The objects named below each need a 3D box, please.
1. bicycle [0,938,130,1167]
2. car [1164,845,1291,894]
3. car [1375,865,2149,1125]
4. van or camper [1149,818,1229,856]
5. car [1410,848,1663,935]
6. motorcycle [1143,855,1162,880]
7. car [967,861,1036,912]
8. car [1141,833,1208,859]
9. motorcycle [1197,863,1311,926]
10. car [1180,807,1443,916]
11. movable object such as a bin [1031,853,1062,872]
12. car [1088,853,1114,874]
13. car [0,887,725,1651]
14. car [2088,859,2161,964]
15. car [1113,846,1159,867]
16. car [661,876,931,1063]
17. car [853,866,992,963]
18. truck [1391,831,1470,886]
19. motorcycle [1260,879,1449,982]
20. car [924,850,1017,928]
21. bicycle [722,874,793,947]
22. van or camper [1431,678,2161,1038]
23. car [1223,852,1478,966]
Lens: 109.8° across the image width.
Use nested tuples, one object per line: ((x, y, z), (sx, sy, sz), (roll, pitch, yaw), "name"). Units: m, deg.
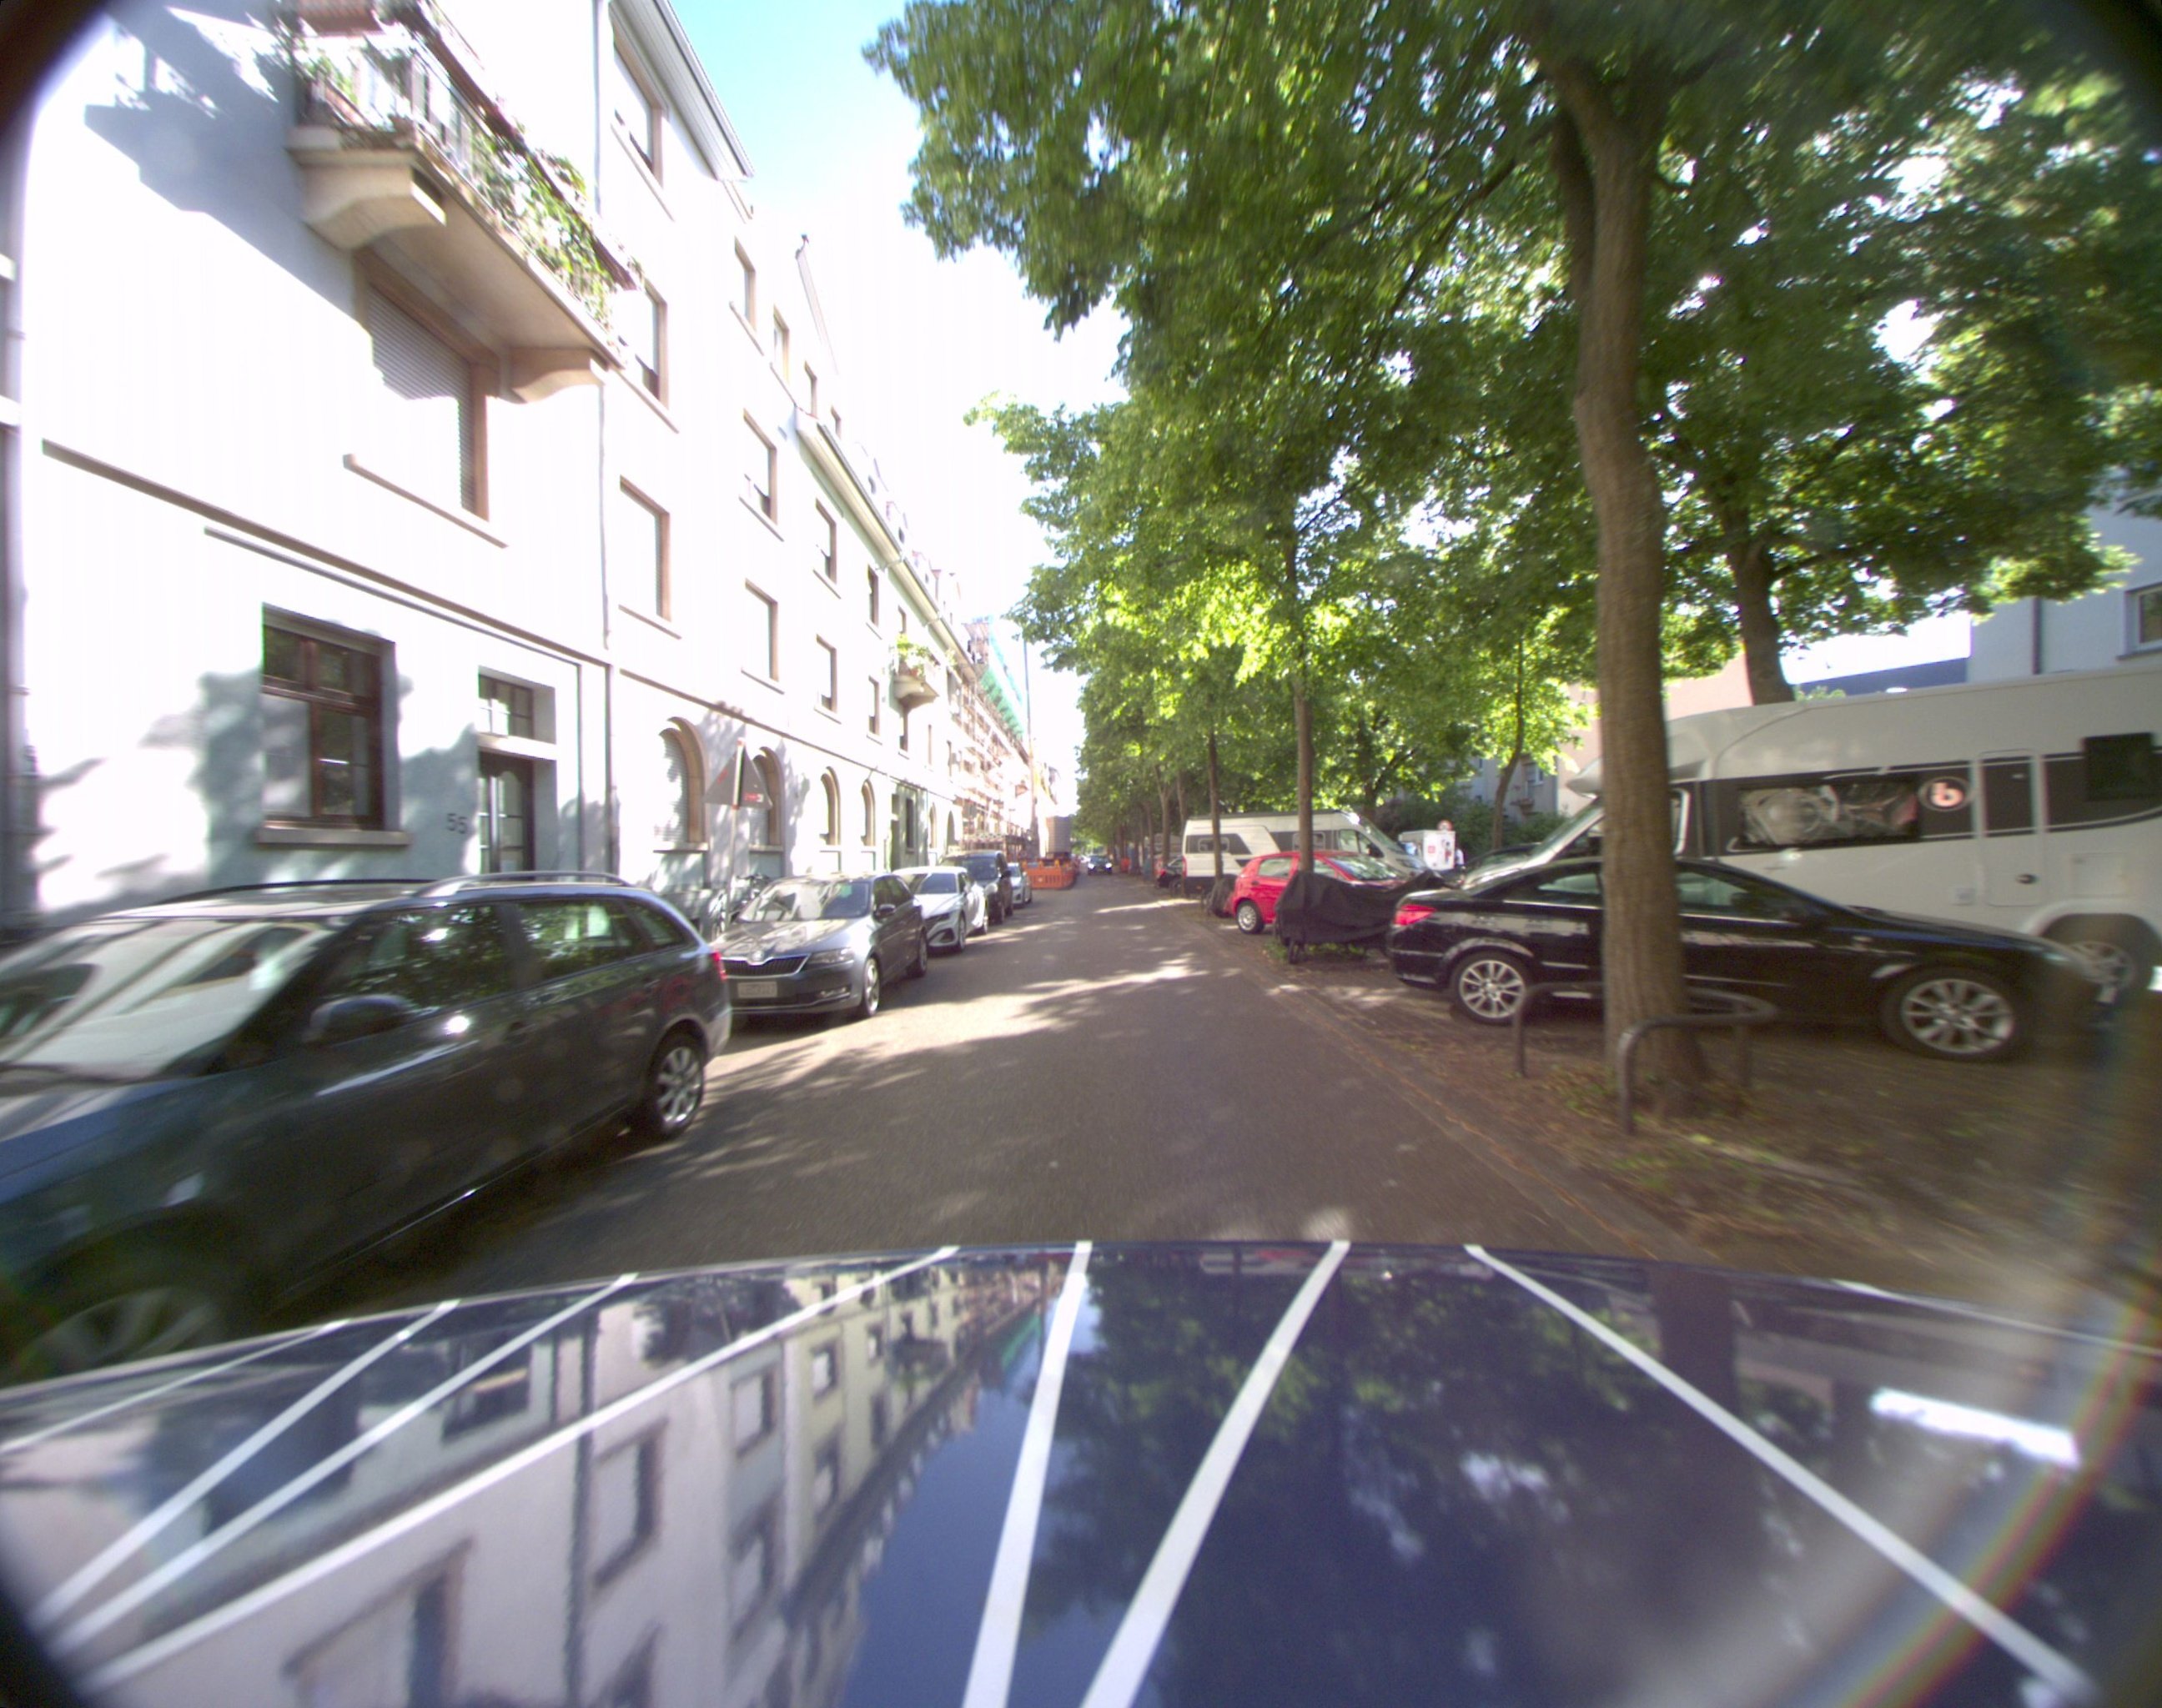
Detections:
((-6.078, 1.123, 3.840), (0.408, 1.179, 1.847), (-1, 0, -8), "bicycle")
((5.301, 0.576, 27.643), (4.090, 1.516, 1.705), (-5, -2, 31), "car")
((4.751, 0.829, 6.139), (4.146, 1.417, 1.718), (-1, 1, 33), "car")
((8.736, -1.307, 61.680), (6.017, 2.984, 2.404), (0, 0, 29), "van or camper")
((8.987, 0.651, 15.215), (4.126, 1.478, 1.837), (0, 2, 34), "car")
((4.074, 0.742, 43.382), (0.631, 1.317, 2.231), (-2, 1, 16), "motorcycle")
((-2.533, 1.007, 25.129), (1.709, 1.502, 4.284), (0, 0, 1), "car")
((9.157, -0.792, 74.437), (6.185, 2.497, 2.143), (0, 0, 28), "car")
((3.910, 0.898, 17.268), (2.326, 1.327, 0.968), (-1, 0, -8), "motorcycle")
((6.074, 0.208, 20.421), (6.310, 2.544, 2.342), (-1, 1, 33), "car")
((-2.820, 0.656, 61.755), (1.872, 1.518, 1.631), (0, 0, 35), "movable object such as a bin")
((1.550, 0.680, 56.948), (1.792, 1.510, 4.001), (0, 0, 3), "car")
((-3.154, 1.004, 2.836), (1.584, 1.541, 4.042), (-1, 0, 2), "car")
((15.671, 0.807, 9.098), (1.754, 1.427, 4.081), (1, 0, -1), "car")
((5.755, 0.208, 79.762), (4.386, 2.155, 1.774), (0, 0, 28), "car")
((-2.863, 1.062, 8.590), (1.603, 1.484, 3.966), (0, 0, -1), "car")
((-2.742, 0.977, 14.136), (1.611, 1.412, 4.568), (0, 0, 0), "car")
((16.334, 0.195, 35.753), (1.926, 2.395, 4.264), (0, 0, 3), "truck")
((3.453, 0.964, 9.804), (2.151, 1.222, 0.882), (-1, 1, 10), "motorcycle")
((-2.704, 0.801, 19.424), (1.776, 1.783, 3.989), (0, 0, 0), "car")
((-5.890, 0.994, 13.940), (0.395, 1.174, 1.983), (-1, 0, 1), "bicycle")
((7.277, 0.073, 7.970), (6.290, 2.808, 2.412), (-2, 1, 30), "van or camper")
((4.322, 0.770, 12.786), (1.666, 1.608, 3.871), (0, 0, -31), "car")
